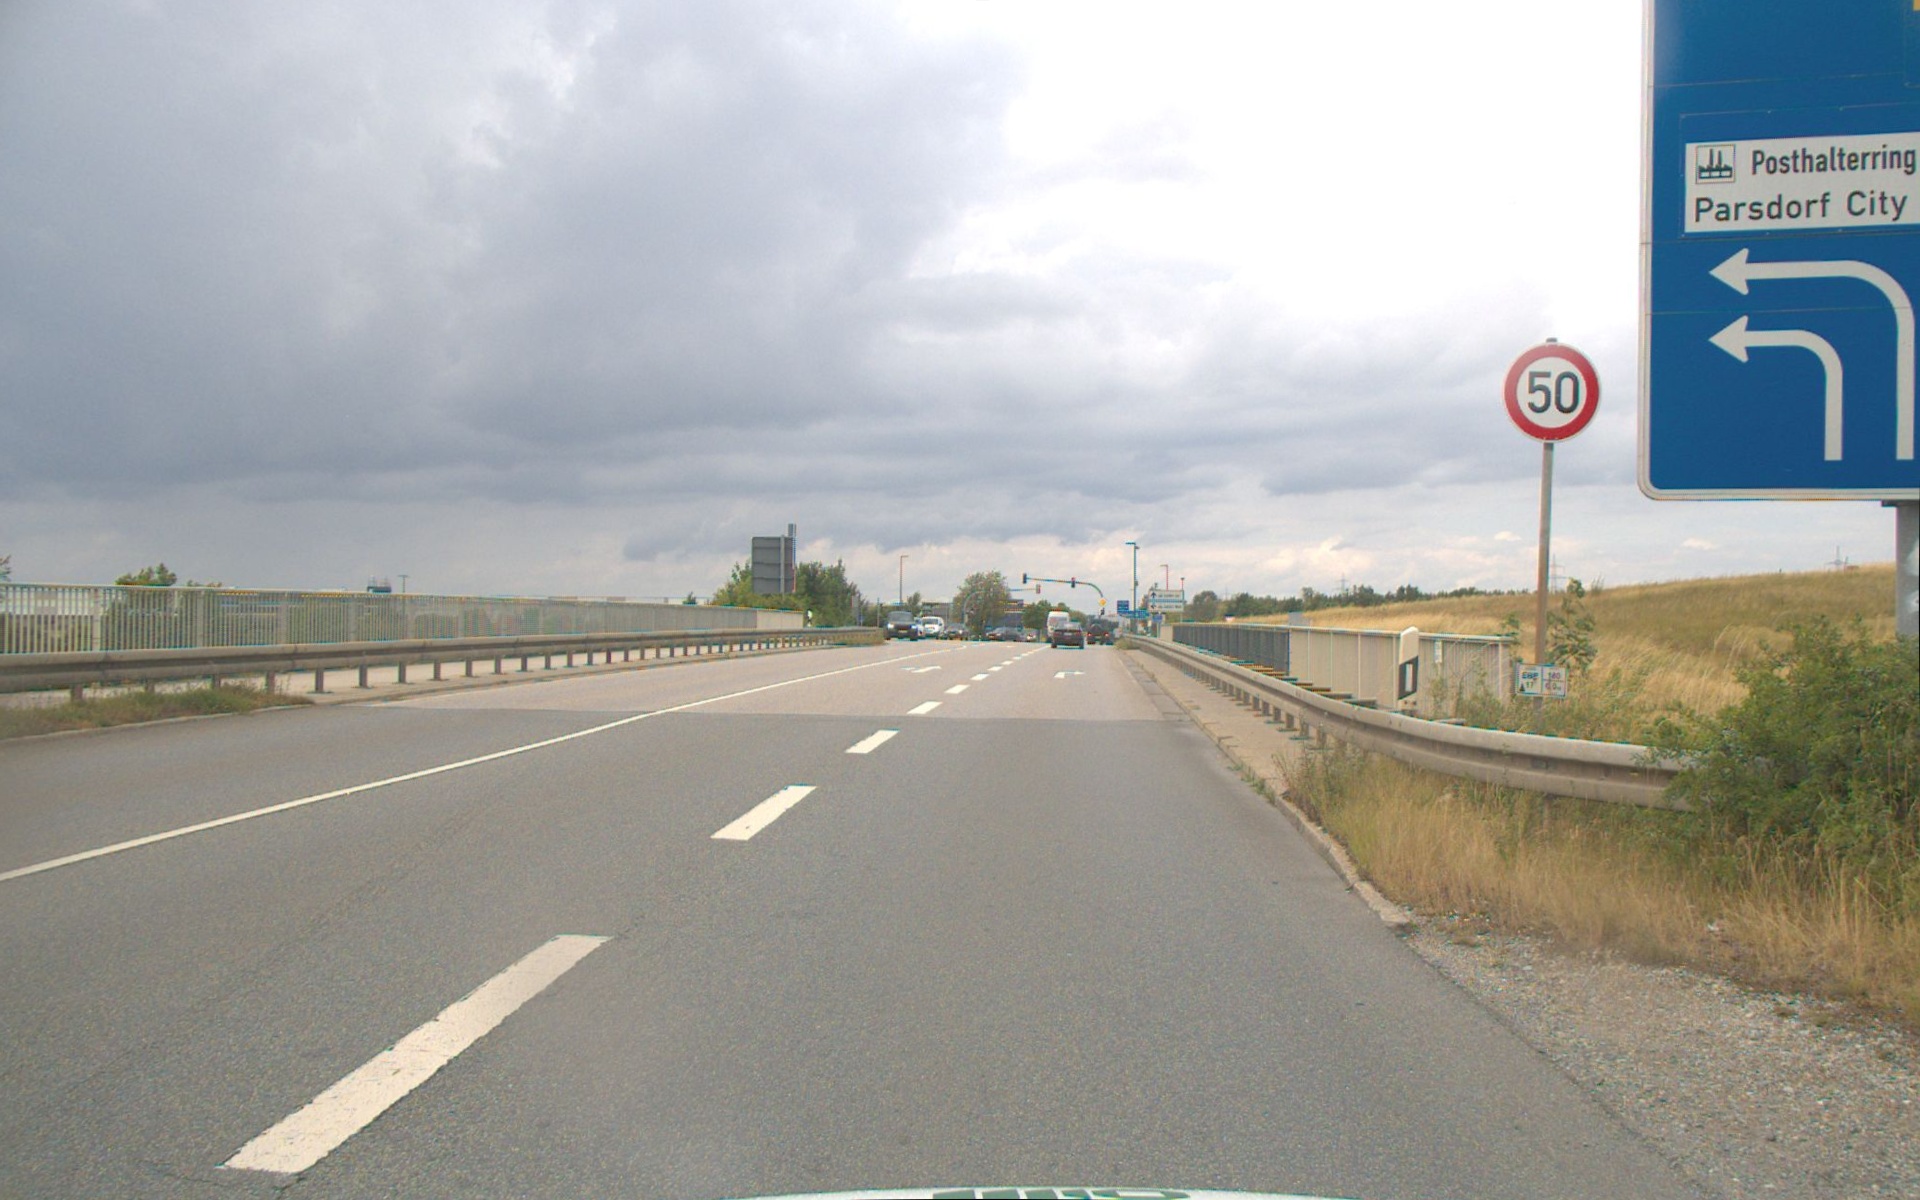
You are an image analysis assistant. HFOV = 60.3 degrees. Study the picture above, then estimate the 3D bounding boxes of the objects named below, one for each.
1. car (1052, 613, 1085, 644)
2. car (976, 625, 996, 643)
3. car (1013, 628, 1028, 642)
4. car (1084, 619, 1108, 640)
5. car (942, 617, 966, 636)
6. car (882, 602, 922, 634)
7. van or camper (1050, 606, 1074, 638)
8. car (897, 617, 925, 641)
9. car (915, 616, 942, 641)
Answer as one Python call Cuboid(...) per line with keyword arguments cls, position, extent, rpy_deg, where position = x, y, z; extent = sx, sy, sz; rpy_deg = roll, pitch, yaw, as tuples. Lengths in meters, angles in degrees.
Cuboid(cls="car", position=(5.516, 1.445, 83.985), extent=(1.486, 1.511, 3.618), rpy_deg=(1, -1, 7))
Cuboid(cls="car", position=(2.644, 3.365, 165.461), extent=(1.771, 1.392, 4.789), rpy_deg=(2, 3, 3))
Cuboid(cls="car", position=(7.335, 4.213, 199.957), extent=(1.658, 1.392, 3.946), rpy_deg=(2, 2, 3))
Cuboid(cls="car", position=(10.546, 2.296, 127.933), extent=(1.646, 1.571, 3.618), rpy_deg=(1, -1, 8))
Cuboid(cls="car", position=(-0.533, 2.442, 152.202), extent=(1.549, 1.585, 4.149), rpy_deg=(2, -1, 9))
Cuboid(cls="car", position=(-3.523, 1.125, 101.287), extent=(1.952, 1.762, 4.763), rpy_deg=(4, -1, 3))
Cuboid(cls="van or camper", position=(8.700, 1.909, 140.956), extent=(1.837, 2.626, 4.002), rpy_deg=(3, -1, 5))
Cuboid(cls="car", position=(-3.407, 2.044, 115.609), extent=(1.676, 1.513, 4.280), rpy_deg=(2, -2, 2))
Cuboid(cls="car", position=(-2.570, 2.316, 135.161), extent=(1.913, 1.907, 4.821), rpy_deg=(2, -2, 2))
